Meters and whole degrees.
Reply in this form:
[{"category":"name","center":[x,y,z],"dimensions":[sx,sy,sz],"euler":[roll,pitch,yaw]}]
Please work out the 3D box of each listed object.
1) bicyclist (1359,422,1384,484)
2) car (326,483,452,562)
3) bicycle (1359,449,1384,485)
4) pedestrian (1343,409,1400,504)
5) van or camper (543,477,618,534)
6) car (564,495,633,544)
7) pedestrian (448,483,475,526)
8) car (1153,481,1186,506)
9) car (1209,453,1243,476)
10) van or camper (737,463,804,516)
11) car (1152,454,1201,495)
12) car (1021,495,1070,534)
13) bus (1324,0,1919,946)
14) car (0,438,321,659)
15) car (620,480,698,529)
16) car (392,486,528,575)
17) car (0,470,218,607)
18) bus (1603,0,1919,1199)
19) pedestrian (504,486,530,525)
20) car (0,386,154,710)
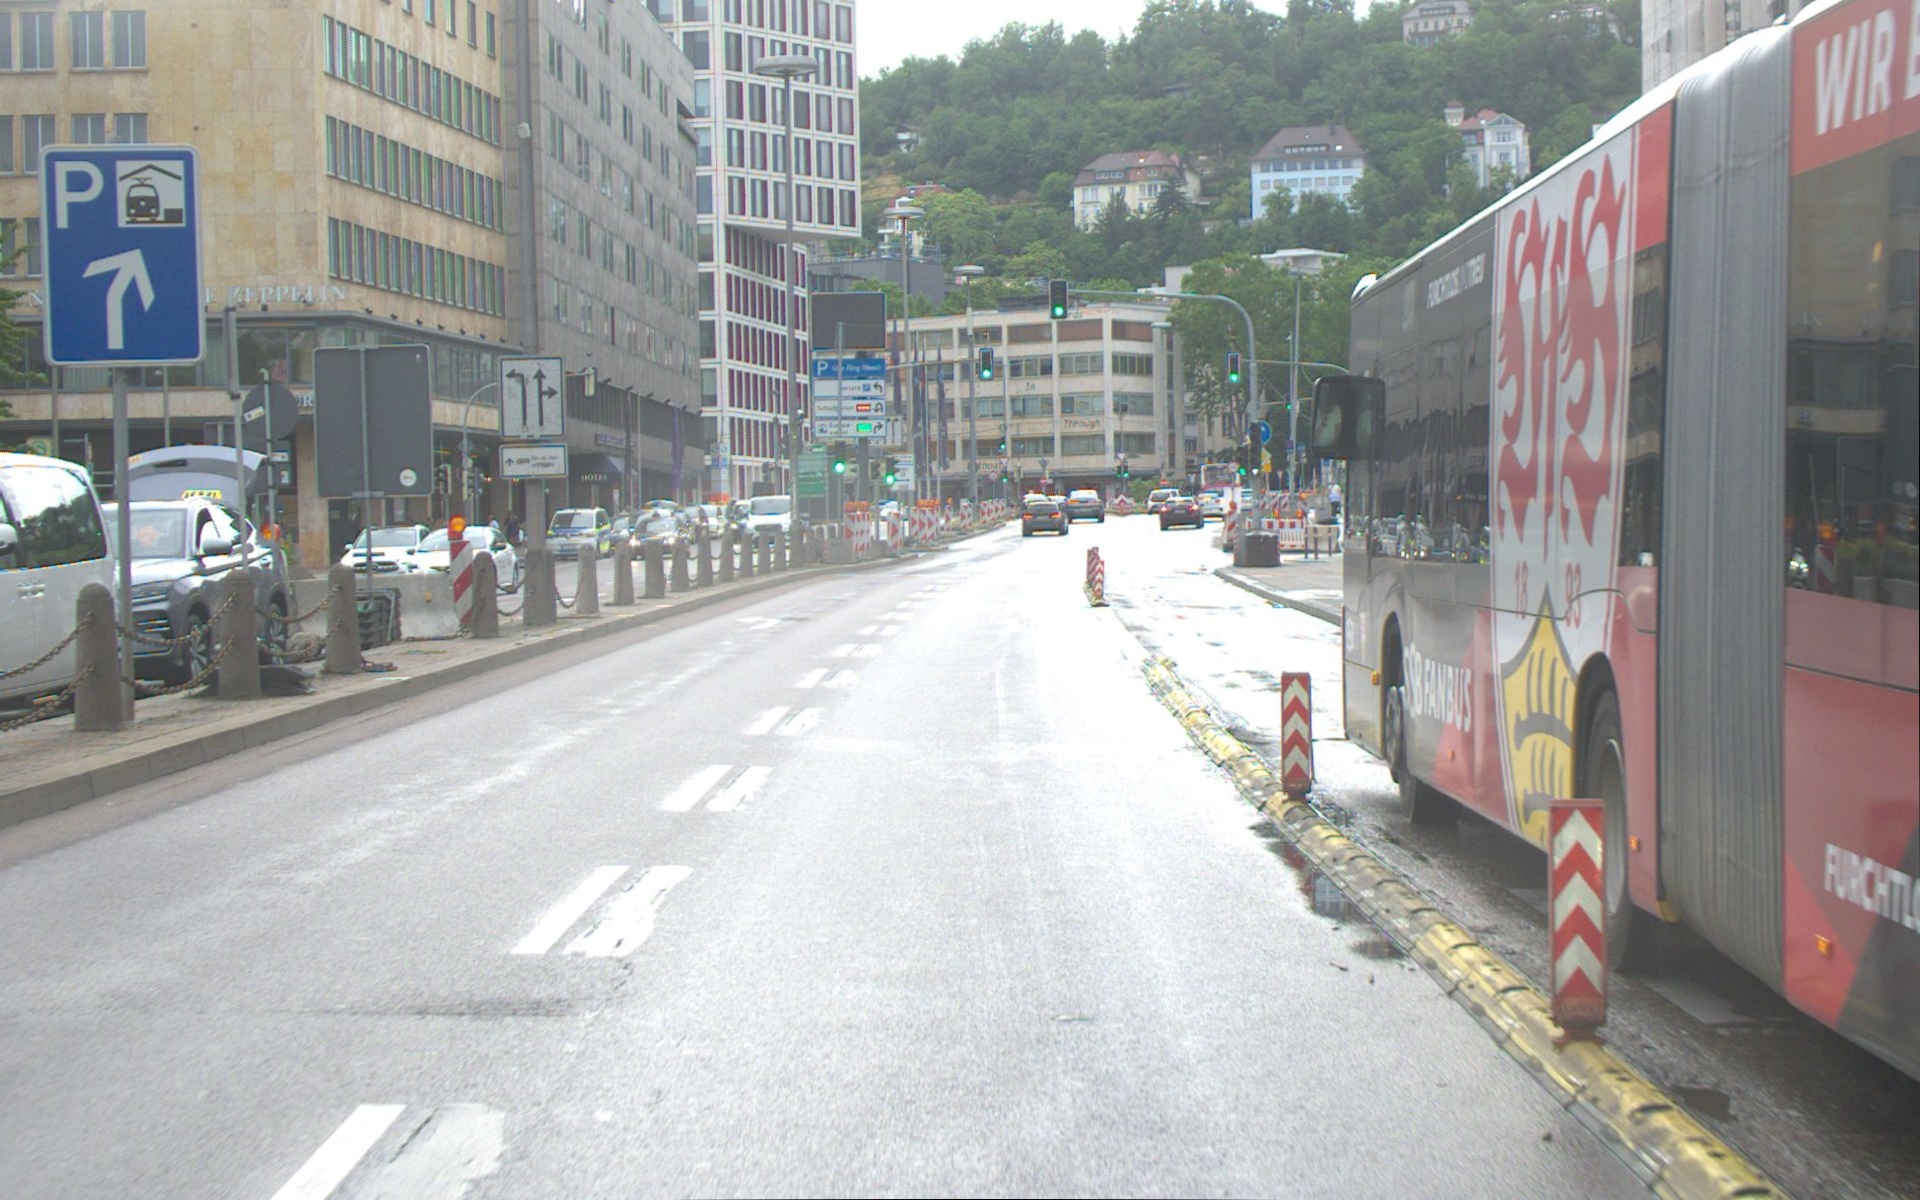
[{"category":"bicyclist","center":[12.329,-4.407,102.995],"dimensions":[0.703,1.838,0.968],"euler":[0,2,8]},{"category":"car","center":[-13.029,-1.806,78.761],"dimensions":[1.962,1.559,4.836],"euler":[-3,3,0]},{"category":"bicycle","center":[12.328,-3.993,103.007],"dimensions":[0.707,1.046,1.806],"euler":[0,3,8]},{"category":"pedestrian","center":[7.371,-2.573,61.600],"dimensions":[0.701,1.673,0.723],"euler":[-3,3,-25]},{"category":"van or camper","center":[-14.030,-3.517,127.354],"dimensions":[1.994,2.006,4.965],"euler":[-1,2,3]},{"category":"car","center":[-14.005,-3.145,133.500],"dimensions":[1.994,1.831,4.000],"euler":[-1,2,4]},{"category":"pedestrian","center":[-18.243,-3.502,125.797],"dimensions":[0.721,1.552,0.905],"euler":[-2,2,5]},{"category":"car","center":[12.583,-6.414,206.610],"dimensions":[1.819,1.437,4.000],"euler":[0,3,2]},{"category":"car","center":[17.401,-8.893,225.253],"dimensions":[1.993,1.437,4.000],"euler":[0,3,2]},{"category":"van or camper","center":[-7.402,-4.327,134.638],"dimensions":[1.994,2.006,5.189],"euler":[-1,2,4]},{"category":"car","center":[9.426,-5.485,149.911],"dimensions":[1.993,1.700,4.000],"euler":[-2,2,2]},{"category":"car","center":[3.584,-3.622,145.135],"dimensions":[1.993,1.546,4.000],"euler":[-2,2,1]},{"category":"bus","center":[3.461,-0.575,15.469],"dimensions":[2.755,3.055,8.994],"euler":[0,2,0]},{"category":"car","center":[-7.071,-0.508,29.803],"dimensions":[1.993,1.716,4.782],"euler":[-2,2,2]},{"category":"car","center":[-10.696,-3.421,122.598],"dimensions":[1.994,1.611,4.978],"euler":[-2,2,4]},{"category":"car","center":[-10.182,-1.448,70.391],"dimensions":[1.962,1.559,4.836],"euler":[-3,3,0]},{"category":"car","center":[-10.513,-0.788,42.273],"dimensions":[1.993,1.546,4.001],"euler":[-2,2,-2]},{"category":"bus","center":[3.400,-0.232,6.416],"dimensions":[2.755,3.058,9.081],"euler":[0,2,0]},{"category":"pedestrian","center":[-17.553,-3.743,136.117],"dimensions":[0.795,1.521,0.916],"euler":[-2,2,5]},{"category":"car","center":[-7.423,-0.377,24.278],"dimensions":[1.993,2.171,5.545],"euler":[-2,2,1]}]
